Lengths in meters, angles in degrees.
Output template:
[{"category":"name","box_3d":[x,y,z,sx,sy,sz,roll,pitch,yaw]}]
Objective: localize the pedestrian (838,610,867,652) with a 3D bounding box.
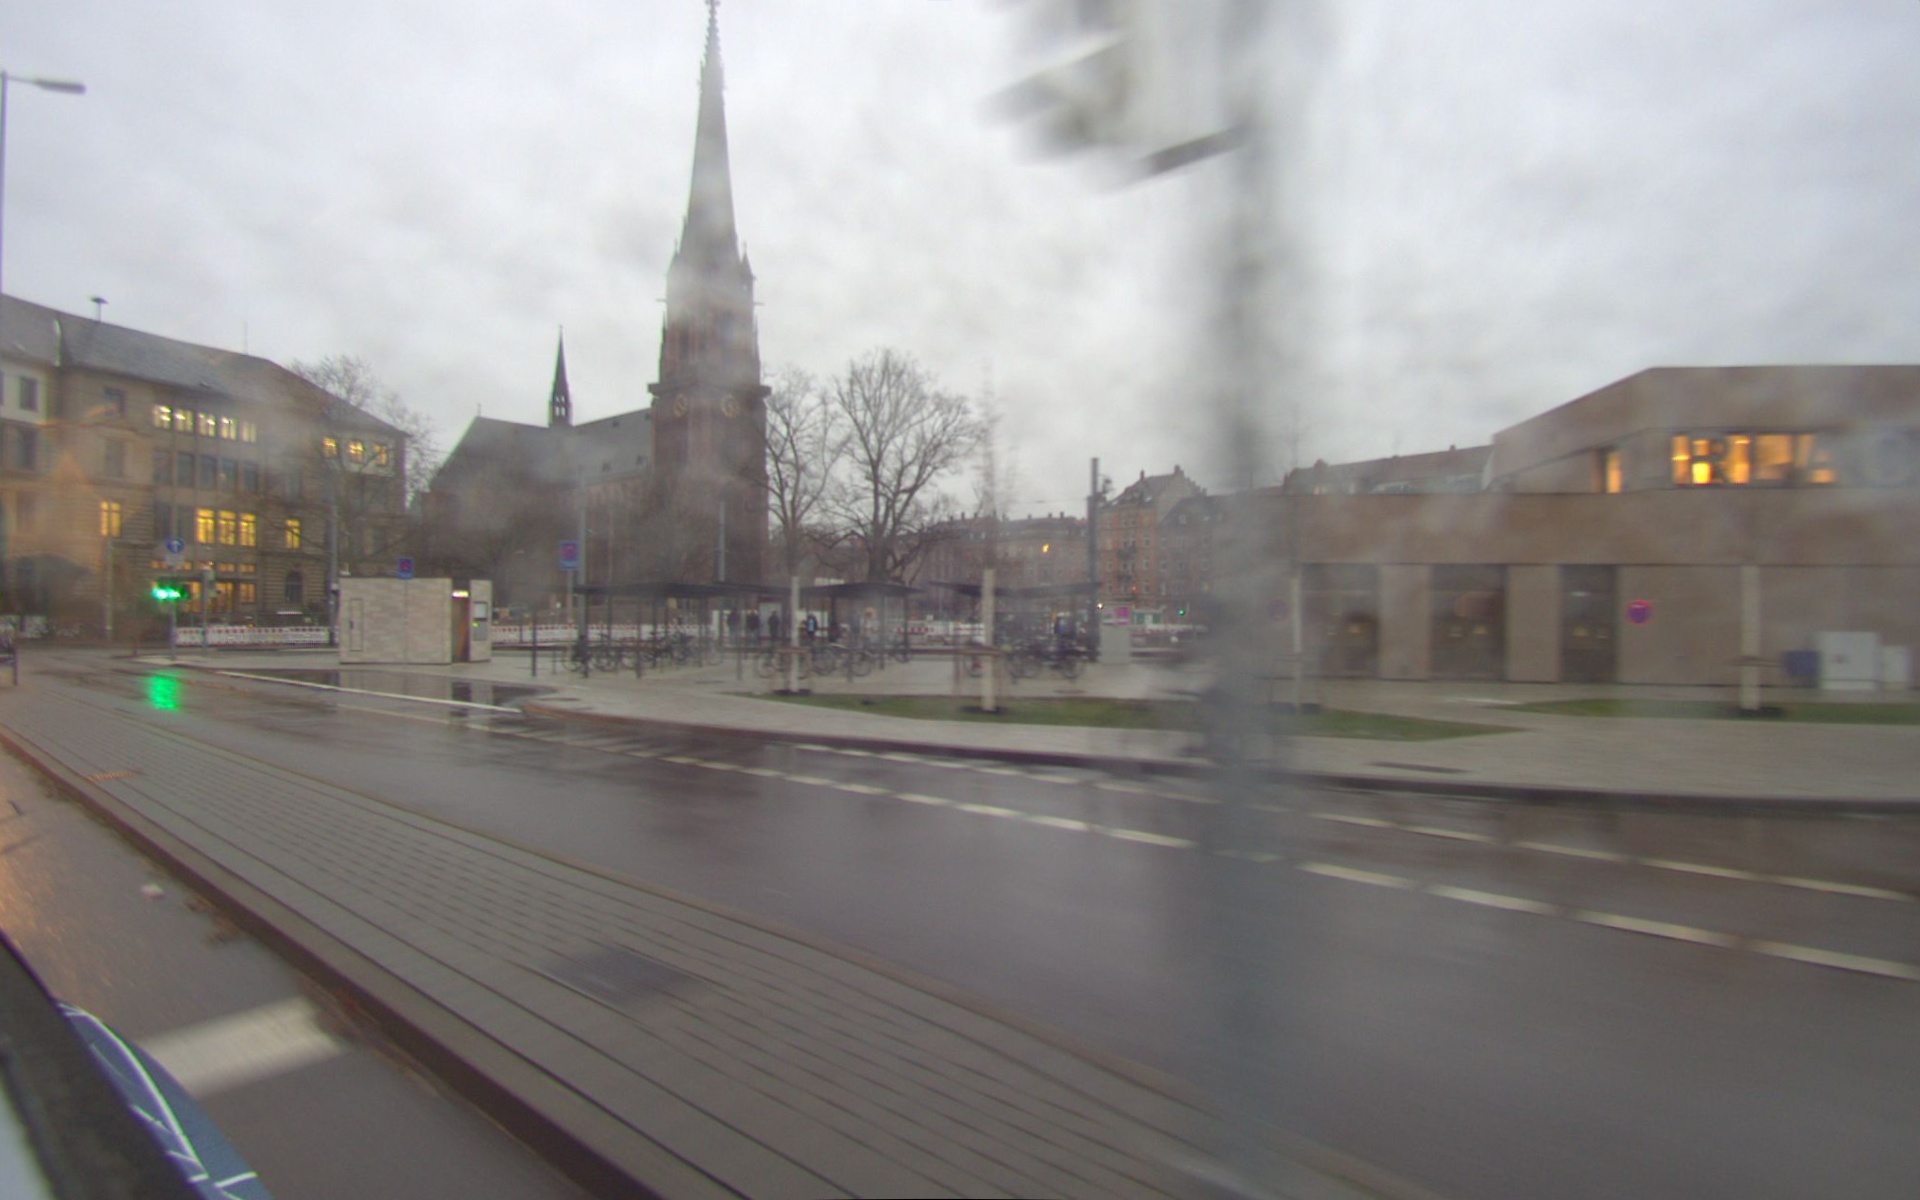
[{"category":"pedestrian","box_3d":[-4.965,1.434,46.755,0.848,1.864,1.021,-1,0,41]}]

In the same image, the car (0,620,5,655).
[{"category":"car","box_3d":[-45.360,1.723,46.708,4.000,1.607,1.655,-2,-1,43]}]

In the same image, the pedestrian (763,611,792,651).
[{"category":"pedestrian","box_3d":[-8.608,1.461,47.827,0.848,1.864,1.021,-2,-3,41]}]

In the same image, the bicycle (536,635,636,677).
[{"category":"bicycle","box_3d":[-10.756,1.620,29.106,2.721,1.113,0.645,-2,0,10]}]

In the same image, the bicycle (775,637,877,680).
[{"category":"bicycle","box_3d":[-3.714,1.629,28.047,2.721,1.113,0.645,-2,0,11]}]

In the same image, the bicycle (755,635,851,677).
[{"category":"bicycle","box_3d":[-4.595,1.649,29.740,2.713,1.113,0.647,-2,0,1]}]

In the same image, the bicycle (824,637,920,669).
[{"category":"bicycle","box_3d":[-2.963,1.783,34.187,3.155,1.058,0.793,0,-1,6]}]

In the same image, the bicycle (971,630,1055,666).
[{"category":"bicycle","box_3d":[1.779,1.608,33.976,2.721,1.113,0.645,-2,0,10]}]

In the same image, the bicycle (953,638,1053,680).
[{"category":"bicycle","box_3d":[1.186,1.611,27.834,2.715,1.113,0.607,0,0,4]}]

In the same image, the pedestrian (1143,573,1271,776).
[{"category":"pedestrian","box_3d":[2.264,0.657,9.251,0.978,1.747,0.710,-1,-3,30]}]

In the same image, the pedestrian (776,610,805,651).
[{"category":"pedestrian","box_3d":[-7.920,1.413,47.265,0.802,1.864,1.021,-1,-2,41]}]

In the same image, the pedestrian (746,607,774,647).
[{"category":"pedestrian","box_3d":[-9.513,1.273,48.167,0.848,1.864,1.021,-2,-3,41]}]

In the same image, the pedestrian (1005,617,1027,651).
[{"category":"pedestrian","box_3d":[3.081,1.852,55.259,0.808,1.844,0.935,-2,-3,41]}]

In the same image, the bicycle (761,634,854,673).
[{"category":"bicycle","box_3d":[-4.586,1.605,30.522,2.713,1.113,0.647,0,0,1]}]

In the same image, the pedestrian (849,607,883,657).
[{"category":"pedestrian","box_3d":[-3.349,1.143,36.169,0.848,1.693,0.805,2,4,41]}]

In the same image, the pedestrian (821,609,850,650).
[{"category":"pedestrian","box_3d":[-5.817,1.361,47.370,0.848,1.864,1.021,-1,0,41]}]

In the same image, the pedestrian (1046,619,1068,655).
[{"category":"pedestrian","box_3d":[5.126,1.949,53.527,0.808,1.844,0.935,-2,-3,41]}]

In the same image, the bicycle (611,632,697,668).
[{"category":"bicycle","box_3d":[-10.292,1.669,34.070,2.718,1.113,0.645,-2,0,8]}]

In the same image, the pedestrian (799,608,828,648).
[{"category":"pedestrian","box_3d":[-6.934,1.321,48.020,0.848,1.864,1.021,-1,0,41]}]

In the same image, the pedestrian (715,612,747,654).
[{"category":"pedestrian","box_3d":[-10.718,1.531,47.349,0.848,1.863,1.036,-2,2,41]}]

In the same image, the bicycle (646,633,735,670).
[{"category":"bicycle","box_3d":[-8.683,1.663,32.604,2.721,1.113,0.645,-2,0,10]}]

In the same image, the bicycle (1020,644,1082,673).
[{"category":"bicycle","box_3d":[2.773,1.776,30.852,1.841,0.878,0.605,0,-2,7]}]

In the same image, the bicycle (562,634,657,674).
[{"category":"bicycle","box_3d":[-10.475,1.603,30.261,2.721,1.113,0.645,-2,0,10]}]

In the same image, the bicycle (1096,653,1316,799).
[{"category":"bicycle","box_3d":[2.232,1.096,9.261,1.865,1.185,0.618,0,-3,30]}]

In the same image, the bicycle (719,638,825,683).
[{"category":"bicycle","box_3d":[-5.011,1.615,27.030,2.721,1.113,0.645,-2,0,11]}]
